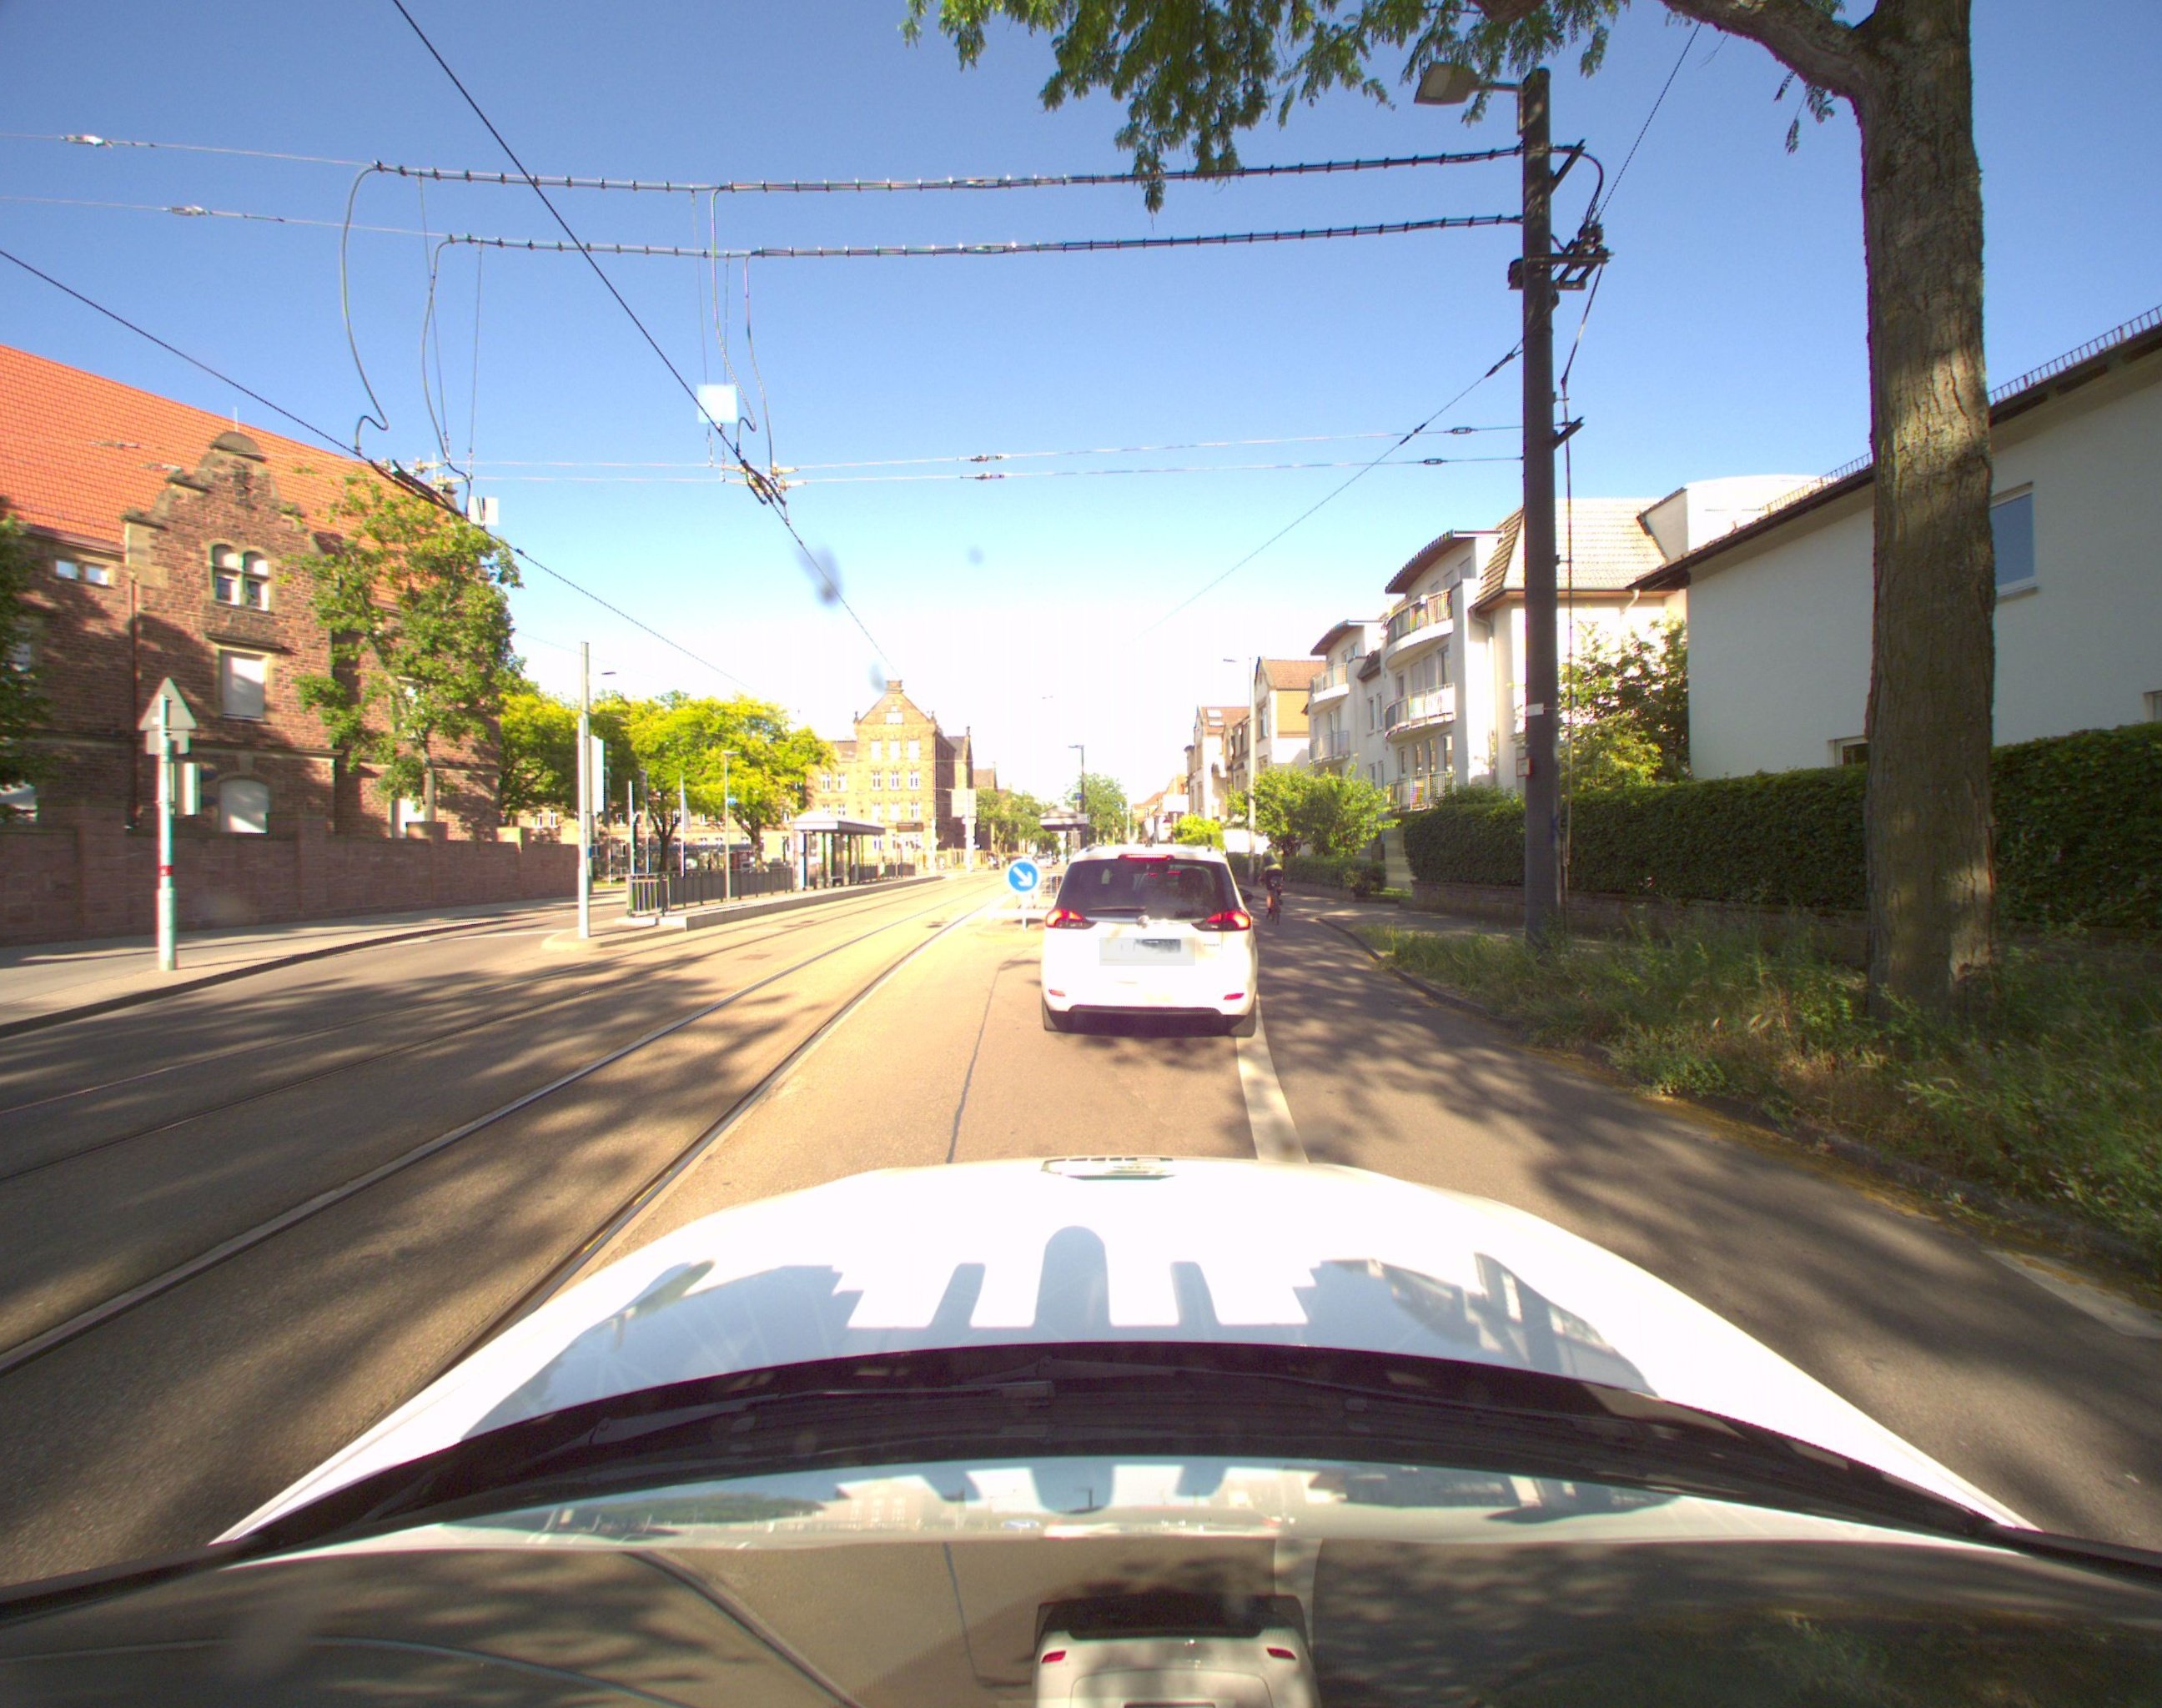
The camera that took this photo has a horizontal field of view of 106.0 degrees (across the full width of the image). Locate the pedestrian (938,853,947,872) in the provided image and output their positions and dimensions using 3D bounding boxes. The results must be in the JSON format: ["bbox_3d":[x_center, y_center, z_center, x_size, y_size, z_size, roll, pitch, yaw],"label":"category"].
[{"bbox_3d":[-14.556,0.867,85.501,0.796,2.014,0.717,0,-1,-15],"label":"pedestrian"}]

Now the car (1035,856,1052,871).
[{"bbox_3d":[-4.362,1.149,95.124,1.744,1.716,3.991,0,-1,-6],"label":"car"}]

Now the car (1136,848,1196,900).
[{"bbox_3d":[2.979,0.655,28.334,1.897,1.661,4.007,-1,0,6],"label":"car"}]

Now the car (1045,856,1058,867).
[{"bbox_3d":[-4.614,1.177,129.384,1.740,1.716,4.001,0,-1,2],"label":"car"}]

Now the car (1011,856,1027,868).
[{"bbox_3d":[-8.653,1.110,113.577,1.740,1.716,4.001,0,-1,2],"label":"car"}]

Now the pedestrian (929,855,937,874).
[{"bbox_3d":[-15.441,1.101,84.806,0.795,2.014,1.042,0,-1,-12],"label":"pedestrian"}]

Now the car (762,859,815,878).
[{"bbox_3d":[-25.448,1.240,70.955,3.976,1.630,1.817,0,-1,-2],"label":"car"}]

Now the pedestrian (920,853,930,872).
[{"bbox_3d":[-17.049,0.939,88.904,0.800,2.014,0.713,0,-1,-32],"label":"pedestrian"}]

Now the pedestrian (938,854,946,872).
[{"bbox_3d":[-15.780,1.005,92.507,0.799,2.014,0.714,0,-1,-28],"label":"pedestrian"}]

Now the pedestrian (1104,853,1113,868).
[{"bbox_3d":[3.447,0.780,101.763,0.800,1.901,0.748,-1,-1,29],"label":"pedestrian"}]

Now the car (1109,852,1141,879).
[{"bbox_3d":[2.841,0.752,53.170,1.901,1.661,4.000,-1,0,0],"label":"car"}]

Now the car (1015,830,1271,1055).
[{"bbox_3d":[0.765,0.667,8.126,1.896,1.661,4.010,-1,0,9],"label":"car"}]

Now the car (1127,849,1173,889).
[{"bbox_3d":[2.998,0.618,36.177,1.899,1.661,4.003,-1,0,3],"label":"car"}]

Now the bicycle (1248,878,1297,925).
[{"bbox_3d":[4.230,1.019,18.108,0.673,0.925,1.886,-1,0,2],"label":"bicycle"}]

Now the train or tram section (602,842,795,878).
[{"bbox_3d":[-37.848,0.577,81.128,17.346,3.154,3.344,-1,-1,-3],"label":"train or tram section"}]

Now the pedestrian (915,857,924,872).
[{"bbox_3d":[-18.302,1.178,92.308,0.647,1.612,0.715,-1,-1,33],"label":"pedestrian"}]

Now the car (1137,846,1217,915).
[{"bbox_3d":[2.624,0.640,21.677,1.896,1.624,4.010,-1,0,9],"label":"car"}]

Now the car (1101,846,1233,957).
[{"bbox_3d":[1.564,0.691,13.856,1.896,1.597,4.010,-1,0,9],"label":"car"}]

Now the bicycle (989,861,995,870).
[{"bbox_3d":[-11.170,1.407,102.443,0.507,1.077,1.739,0,-1,2],"label":"bicycle"}]

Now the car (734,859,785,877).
[{"bbox_3d":[-29.657,1.316,75.197,3.976,1.630,1.817,0,-1,-2],"label":"car"}]

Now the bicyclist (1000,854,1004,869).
[{"bbox_3d":[-10.606,0.950,109.046,0.486,2.014,0.502,0,-1,1],"label":"bicyclist"}]

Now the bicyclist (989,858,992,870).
[{"bbox_3d":[-10.902,1.192,98.417,0.312,1.444,0.384,0,-1,1],"label":"bicyclist"}]

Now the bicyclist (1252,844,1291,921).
[{"bbox_3d":[4.216,0.611,18.077,0.673,1.658,0.745,-1,0,1],"label":"bicyclist"}]

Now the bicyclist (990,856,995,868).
[{"bbox_3d":[-11.166,1.000,102.356,0.529,1.477,0.572,0,-1,1],"label":"bicyclist"}]

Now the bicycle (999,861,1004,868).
[{"bbox_3d":[-10.606,1.388,109.100,0.485,0.971,1.406,0,-1,2],"label":"bicycle"}]

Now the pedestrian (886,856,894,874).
[{"bbox_3d":[-19.374,1.130,82.752,0.768,1.774,0.717,0,-1,-15],"label":"pedestrian"}]
